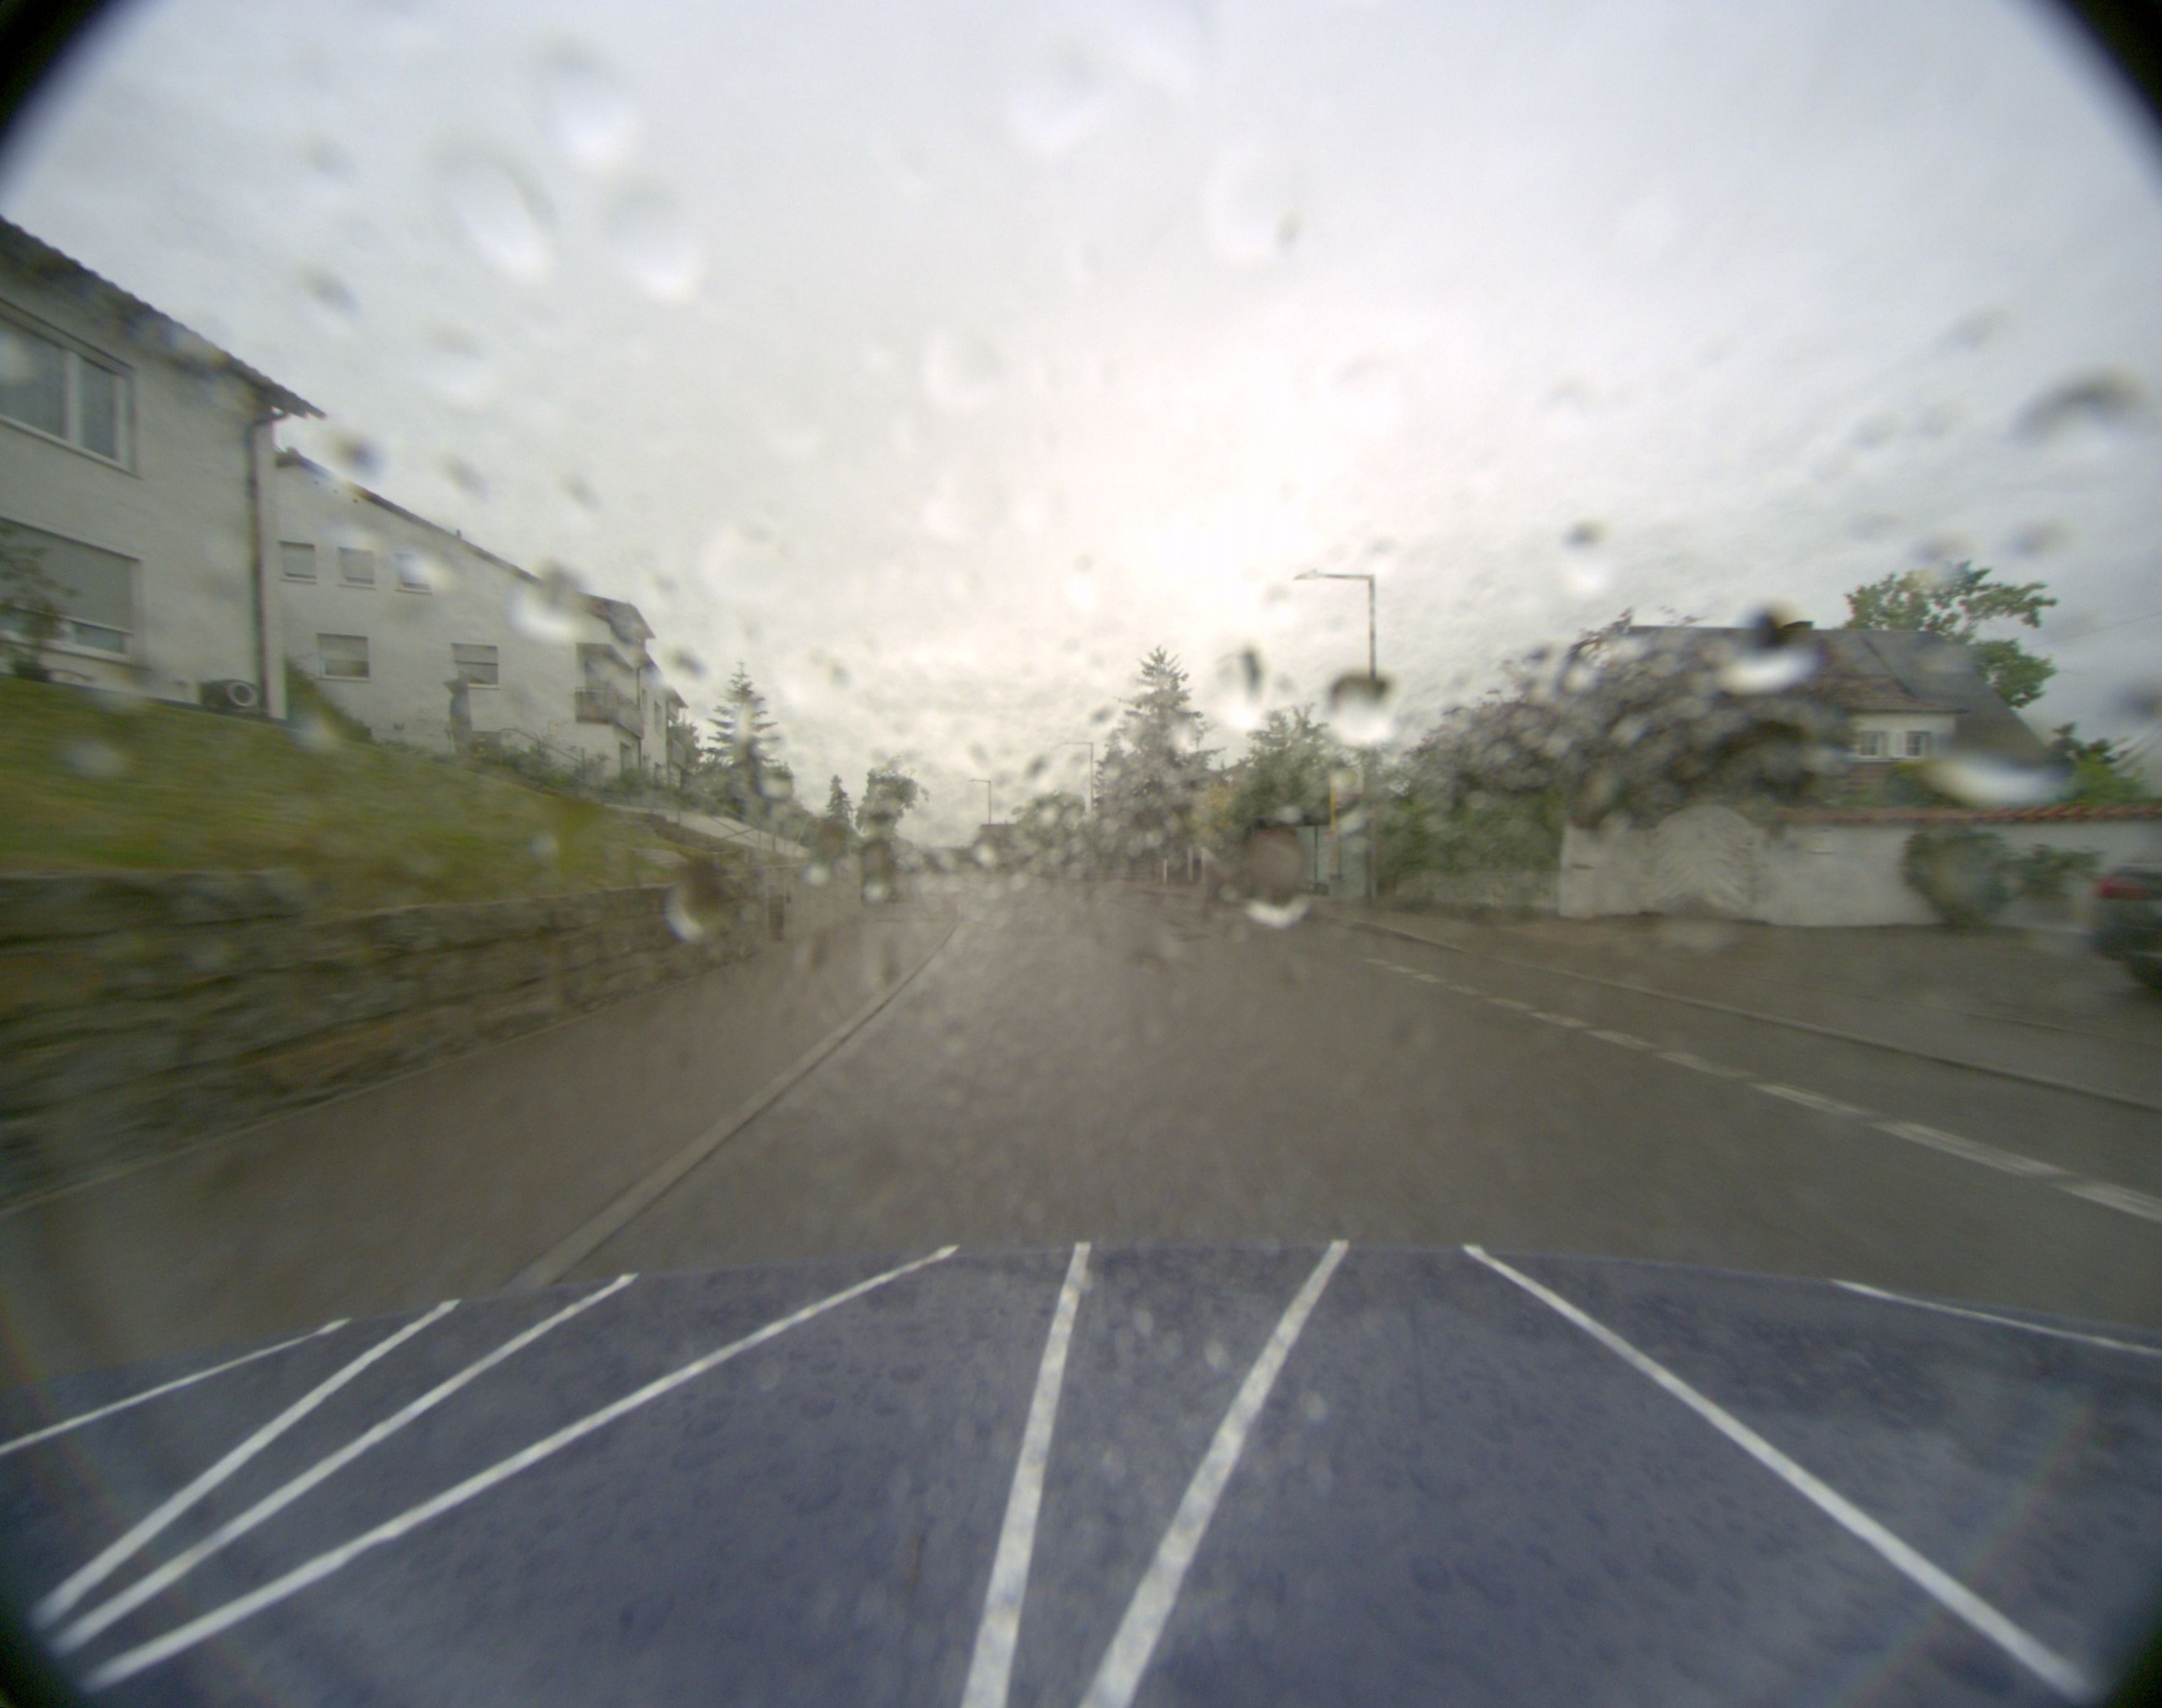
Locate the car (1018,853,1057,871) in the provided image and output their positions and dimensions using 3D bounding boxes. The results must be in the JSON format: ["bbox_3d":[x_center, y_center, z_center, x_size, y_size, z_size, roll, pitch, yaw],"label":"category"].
[{"bbox_3d":[-3.622,0.646,63.134,3.037,1.471,1.455,-1,0,7],"label":"car"}]

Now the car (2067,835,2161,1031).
[{"bbox_3d":[10.398,0.549,5.528,4.554,1.467,1.838,-1,0,-6],"label":"car"}]
